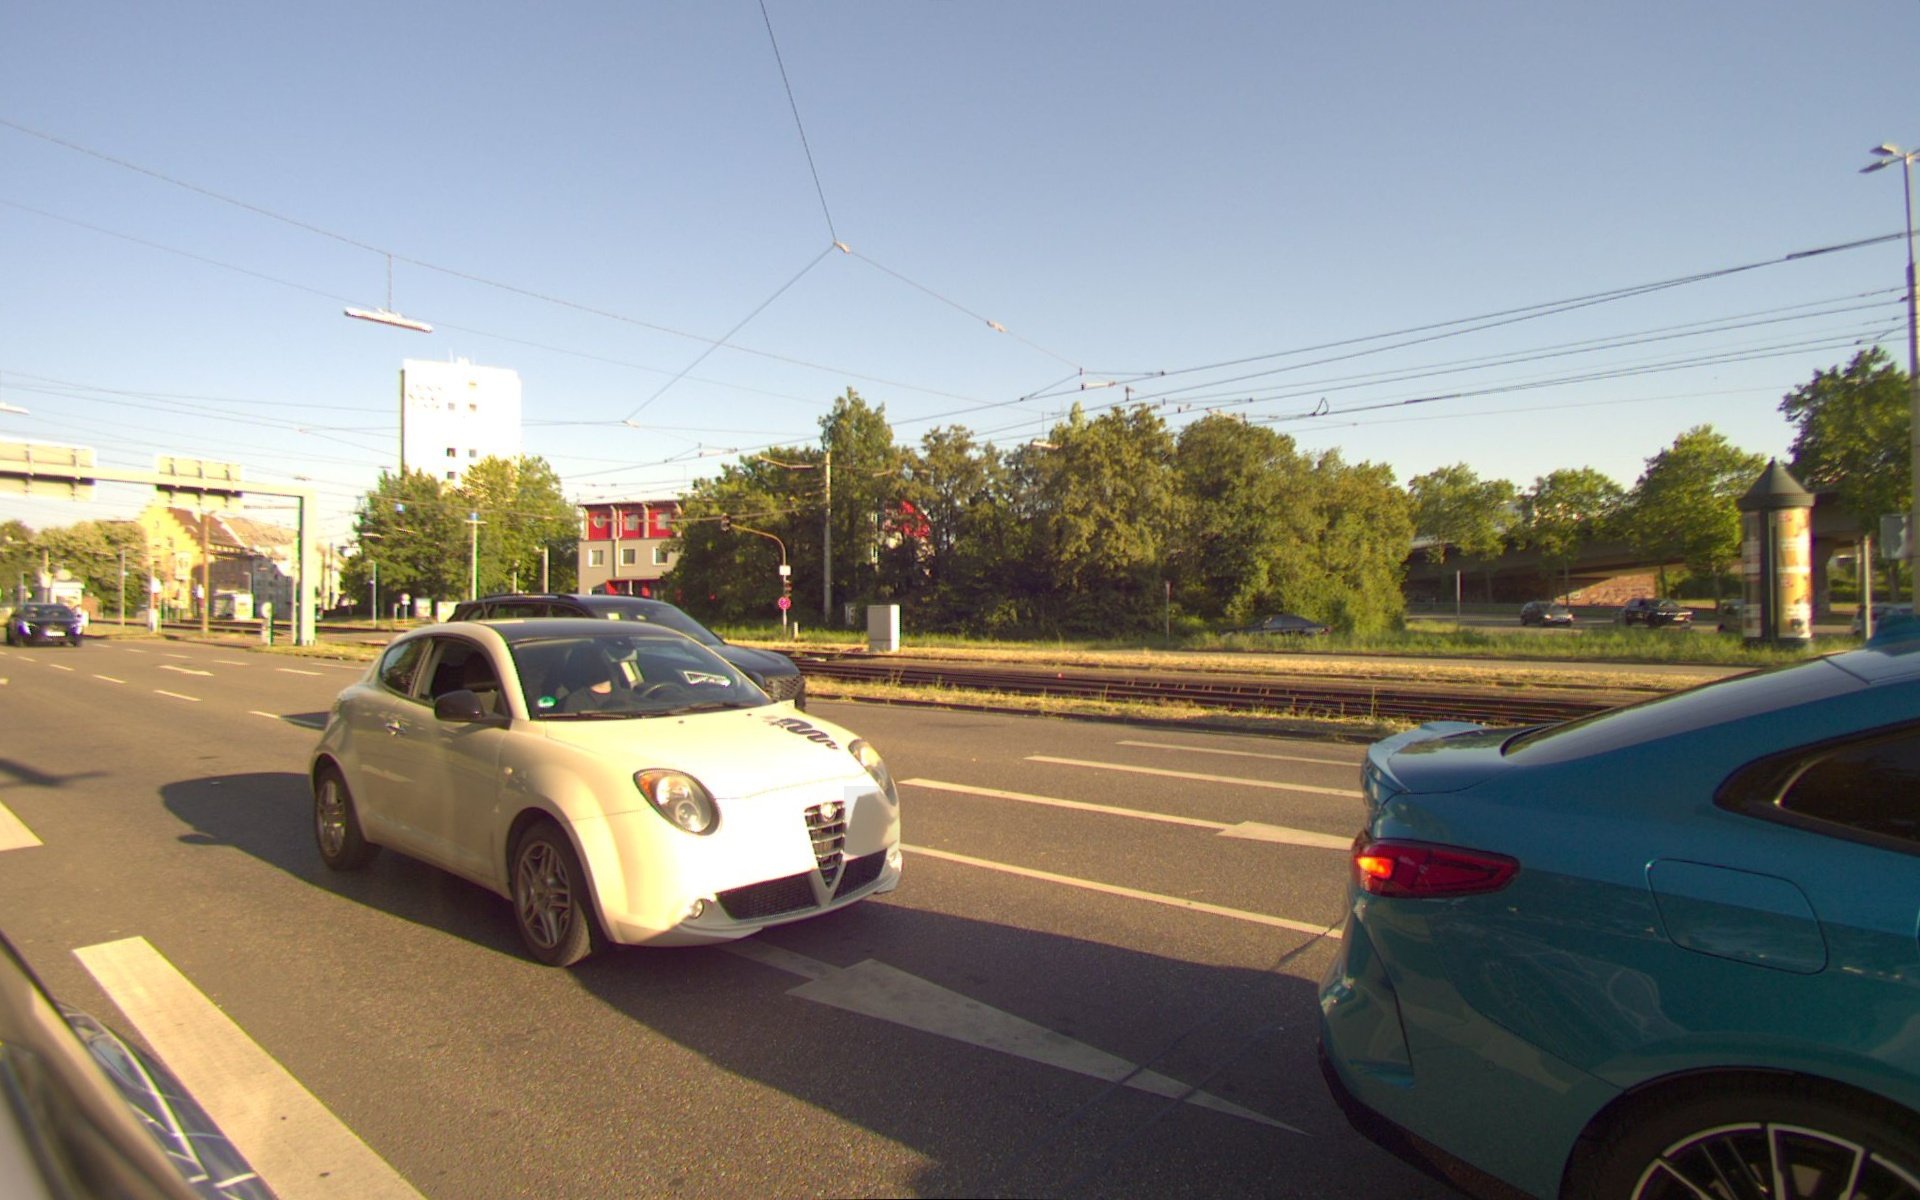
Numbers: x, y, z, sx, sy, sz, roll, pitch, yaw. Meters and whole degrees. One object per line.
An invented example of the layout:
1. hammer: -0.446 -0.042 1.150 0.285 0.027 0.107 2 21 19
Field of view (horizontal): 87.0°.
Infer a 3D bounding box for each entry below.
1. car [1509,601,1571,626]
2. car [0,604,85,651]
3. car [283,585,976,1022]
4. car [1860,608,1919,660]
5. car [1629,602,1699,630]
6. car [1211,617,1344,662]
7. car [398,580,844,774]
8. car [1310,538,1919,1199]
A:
1. car: 37.148 0.860 64.901 1.700 1.537 3.934 -1 -1 1
2. car: -34.935 1.049 38.406 4.271 1.675 1.882 -1 -2 39
3. car: -1.999 0.759 5.481 3.997 1.517 1.719 -1 -2 40
4. car: 32.246 1.109 33.765 1.680 1.643 4.261 -1 -1 18
5. car: 40.531 0.897 58.376 1.606 1.537 4.398 -1 -1 10
6. car: 12.600 1.541 40.364 4.693 1.691 1.752 -1 -1 3
7. car: -3.645 0.711 10.718 4.600 1.692 1.803 -1 -1 27
8. car: 2.892 0.637 1.456 4.201 1.477 1.697 -1 -2 38
